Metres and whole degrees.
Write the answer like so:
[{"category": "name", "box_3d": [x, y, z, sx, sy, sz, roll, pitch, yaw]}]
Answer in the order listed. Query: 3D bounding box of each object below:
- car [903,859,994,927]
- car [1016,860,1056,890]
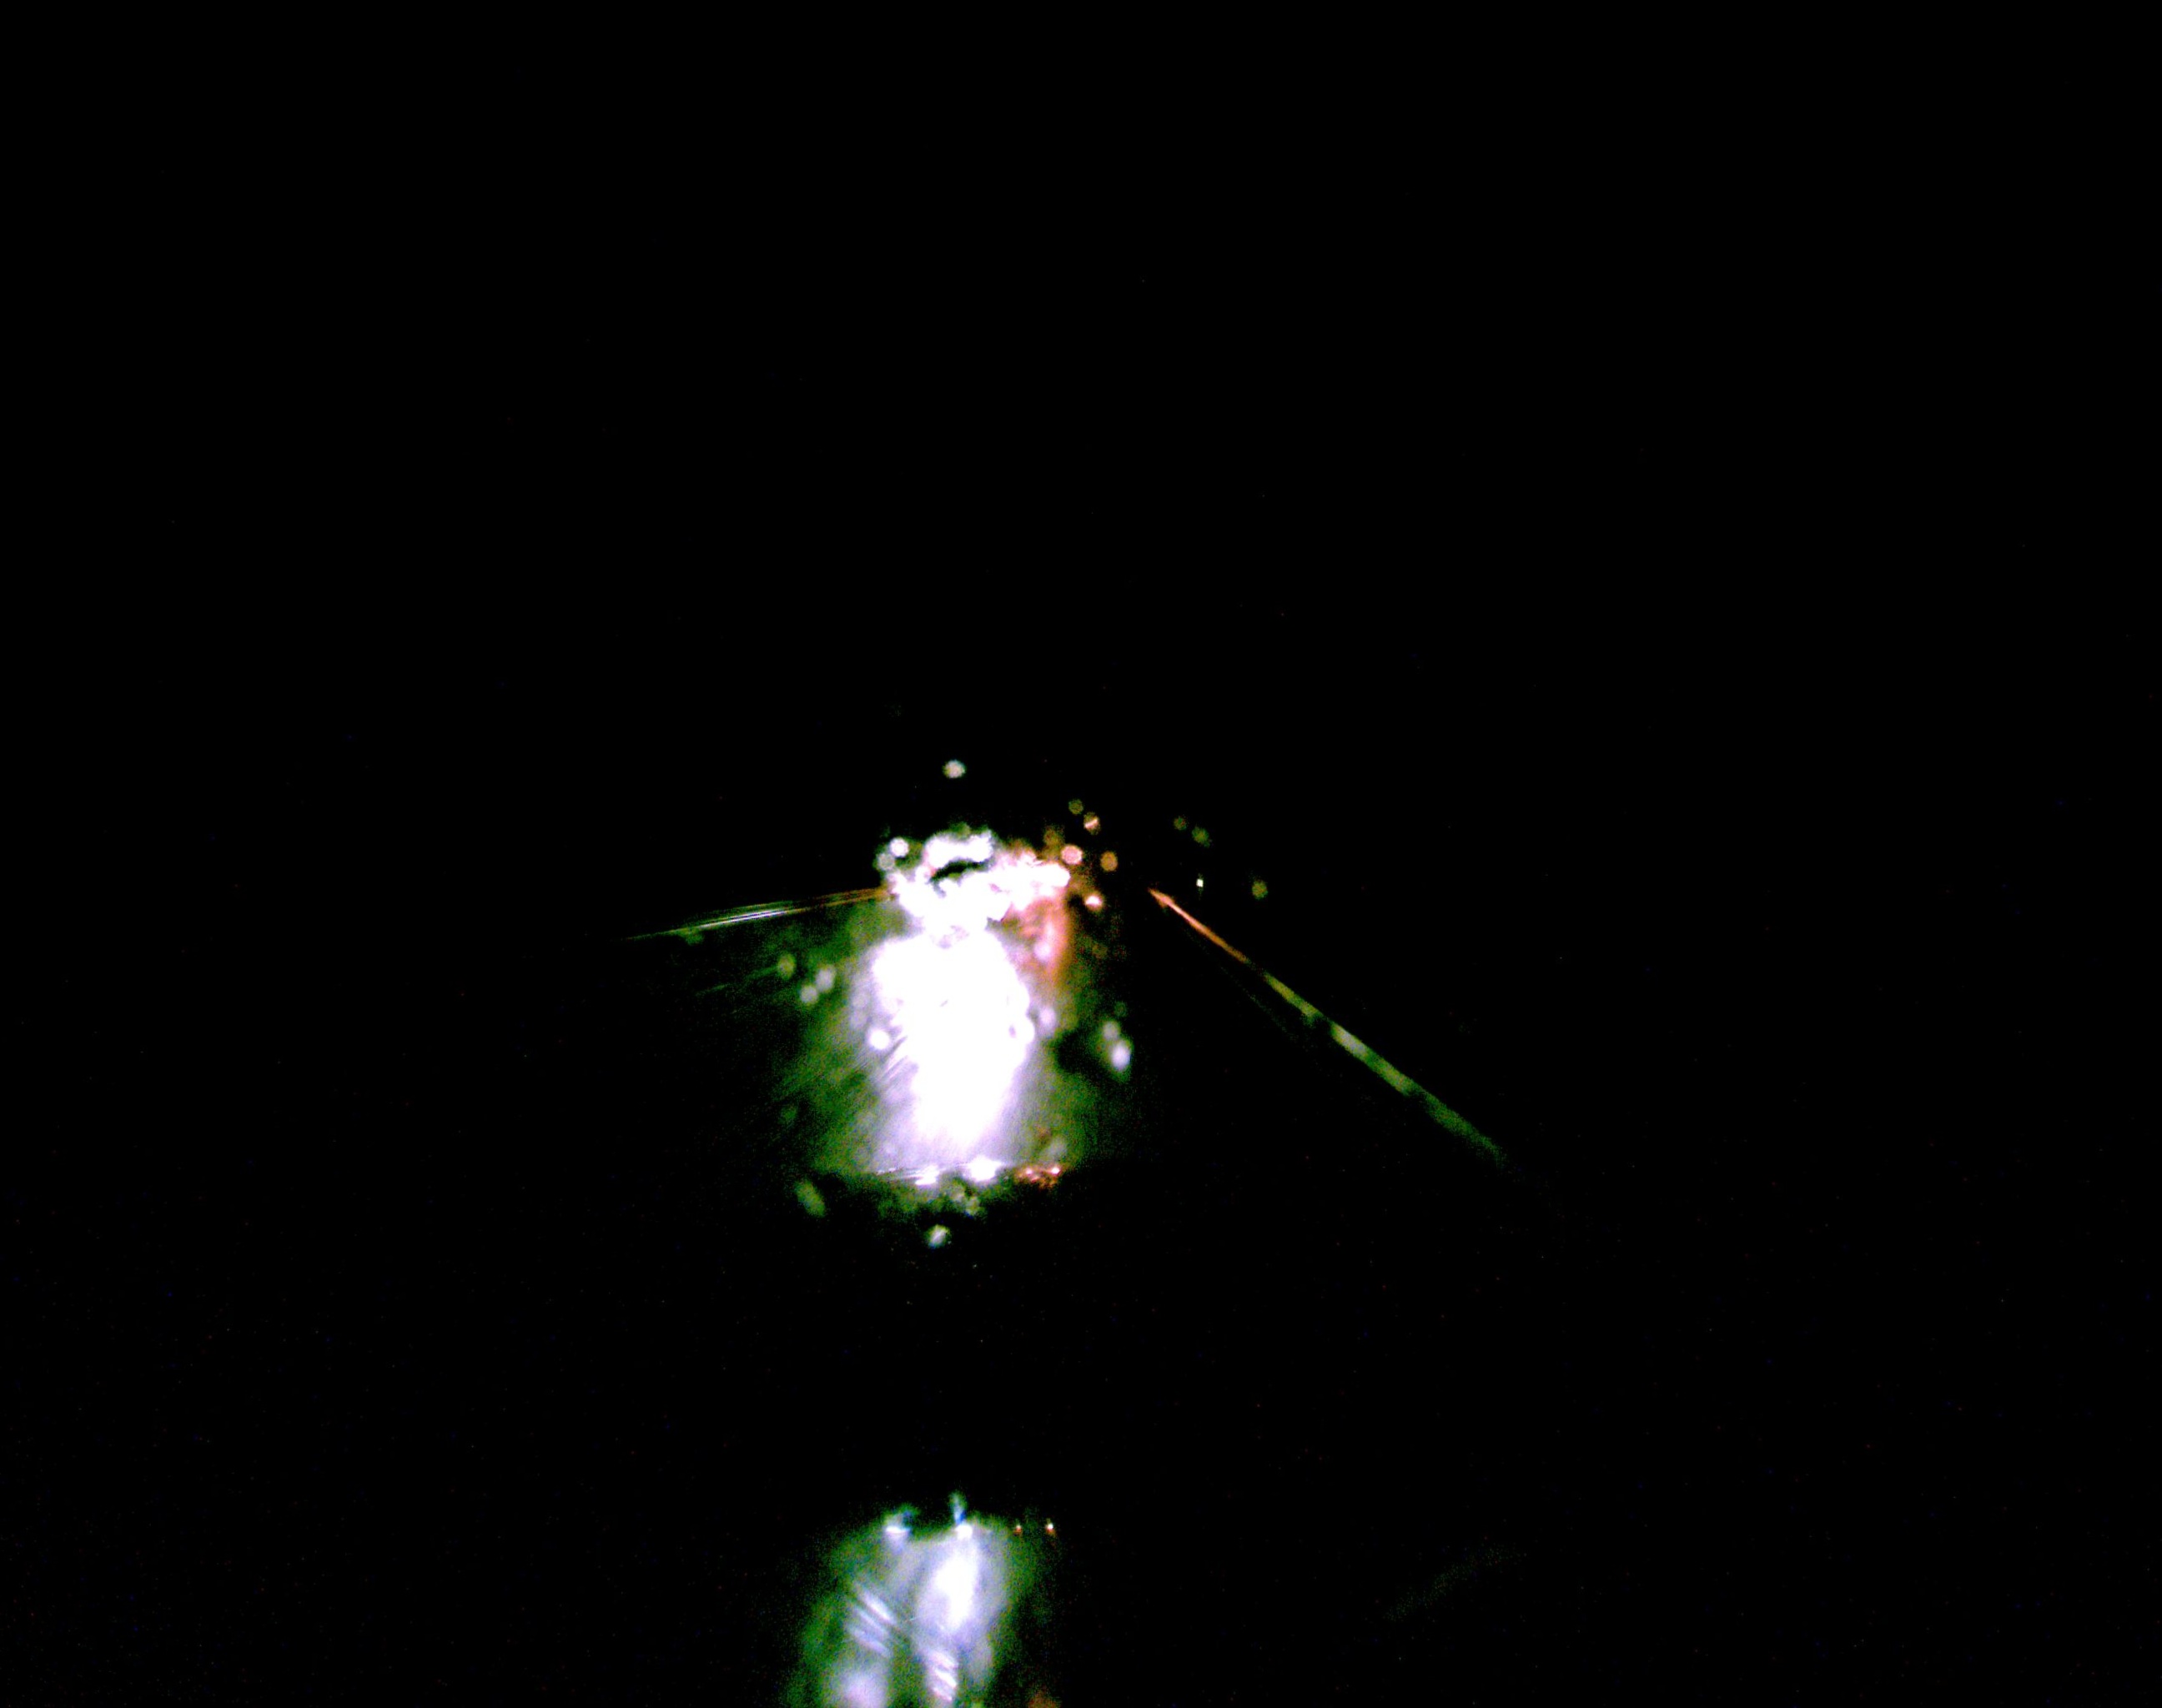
[{"category": "car", "box_3d": [-3.184, 0.865, 20.000, 1.974, 1.462, 4.270, 0, 0, -8]}, {"category": "car", "box_3d": [-2.464, 1.115, 45.354, 1.849, 1.521, 4.681, 0, 0, 1]}]
